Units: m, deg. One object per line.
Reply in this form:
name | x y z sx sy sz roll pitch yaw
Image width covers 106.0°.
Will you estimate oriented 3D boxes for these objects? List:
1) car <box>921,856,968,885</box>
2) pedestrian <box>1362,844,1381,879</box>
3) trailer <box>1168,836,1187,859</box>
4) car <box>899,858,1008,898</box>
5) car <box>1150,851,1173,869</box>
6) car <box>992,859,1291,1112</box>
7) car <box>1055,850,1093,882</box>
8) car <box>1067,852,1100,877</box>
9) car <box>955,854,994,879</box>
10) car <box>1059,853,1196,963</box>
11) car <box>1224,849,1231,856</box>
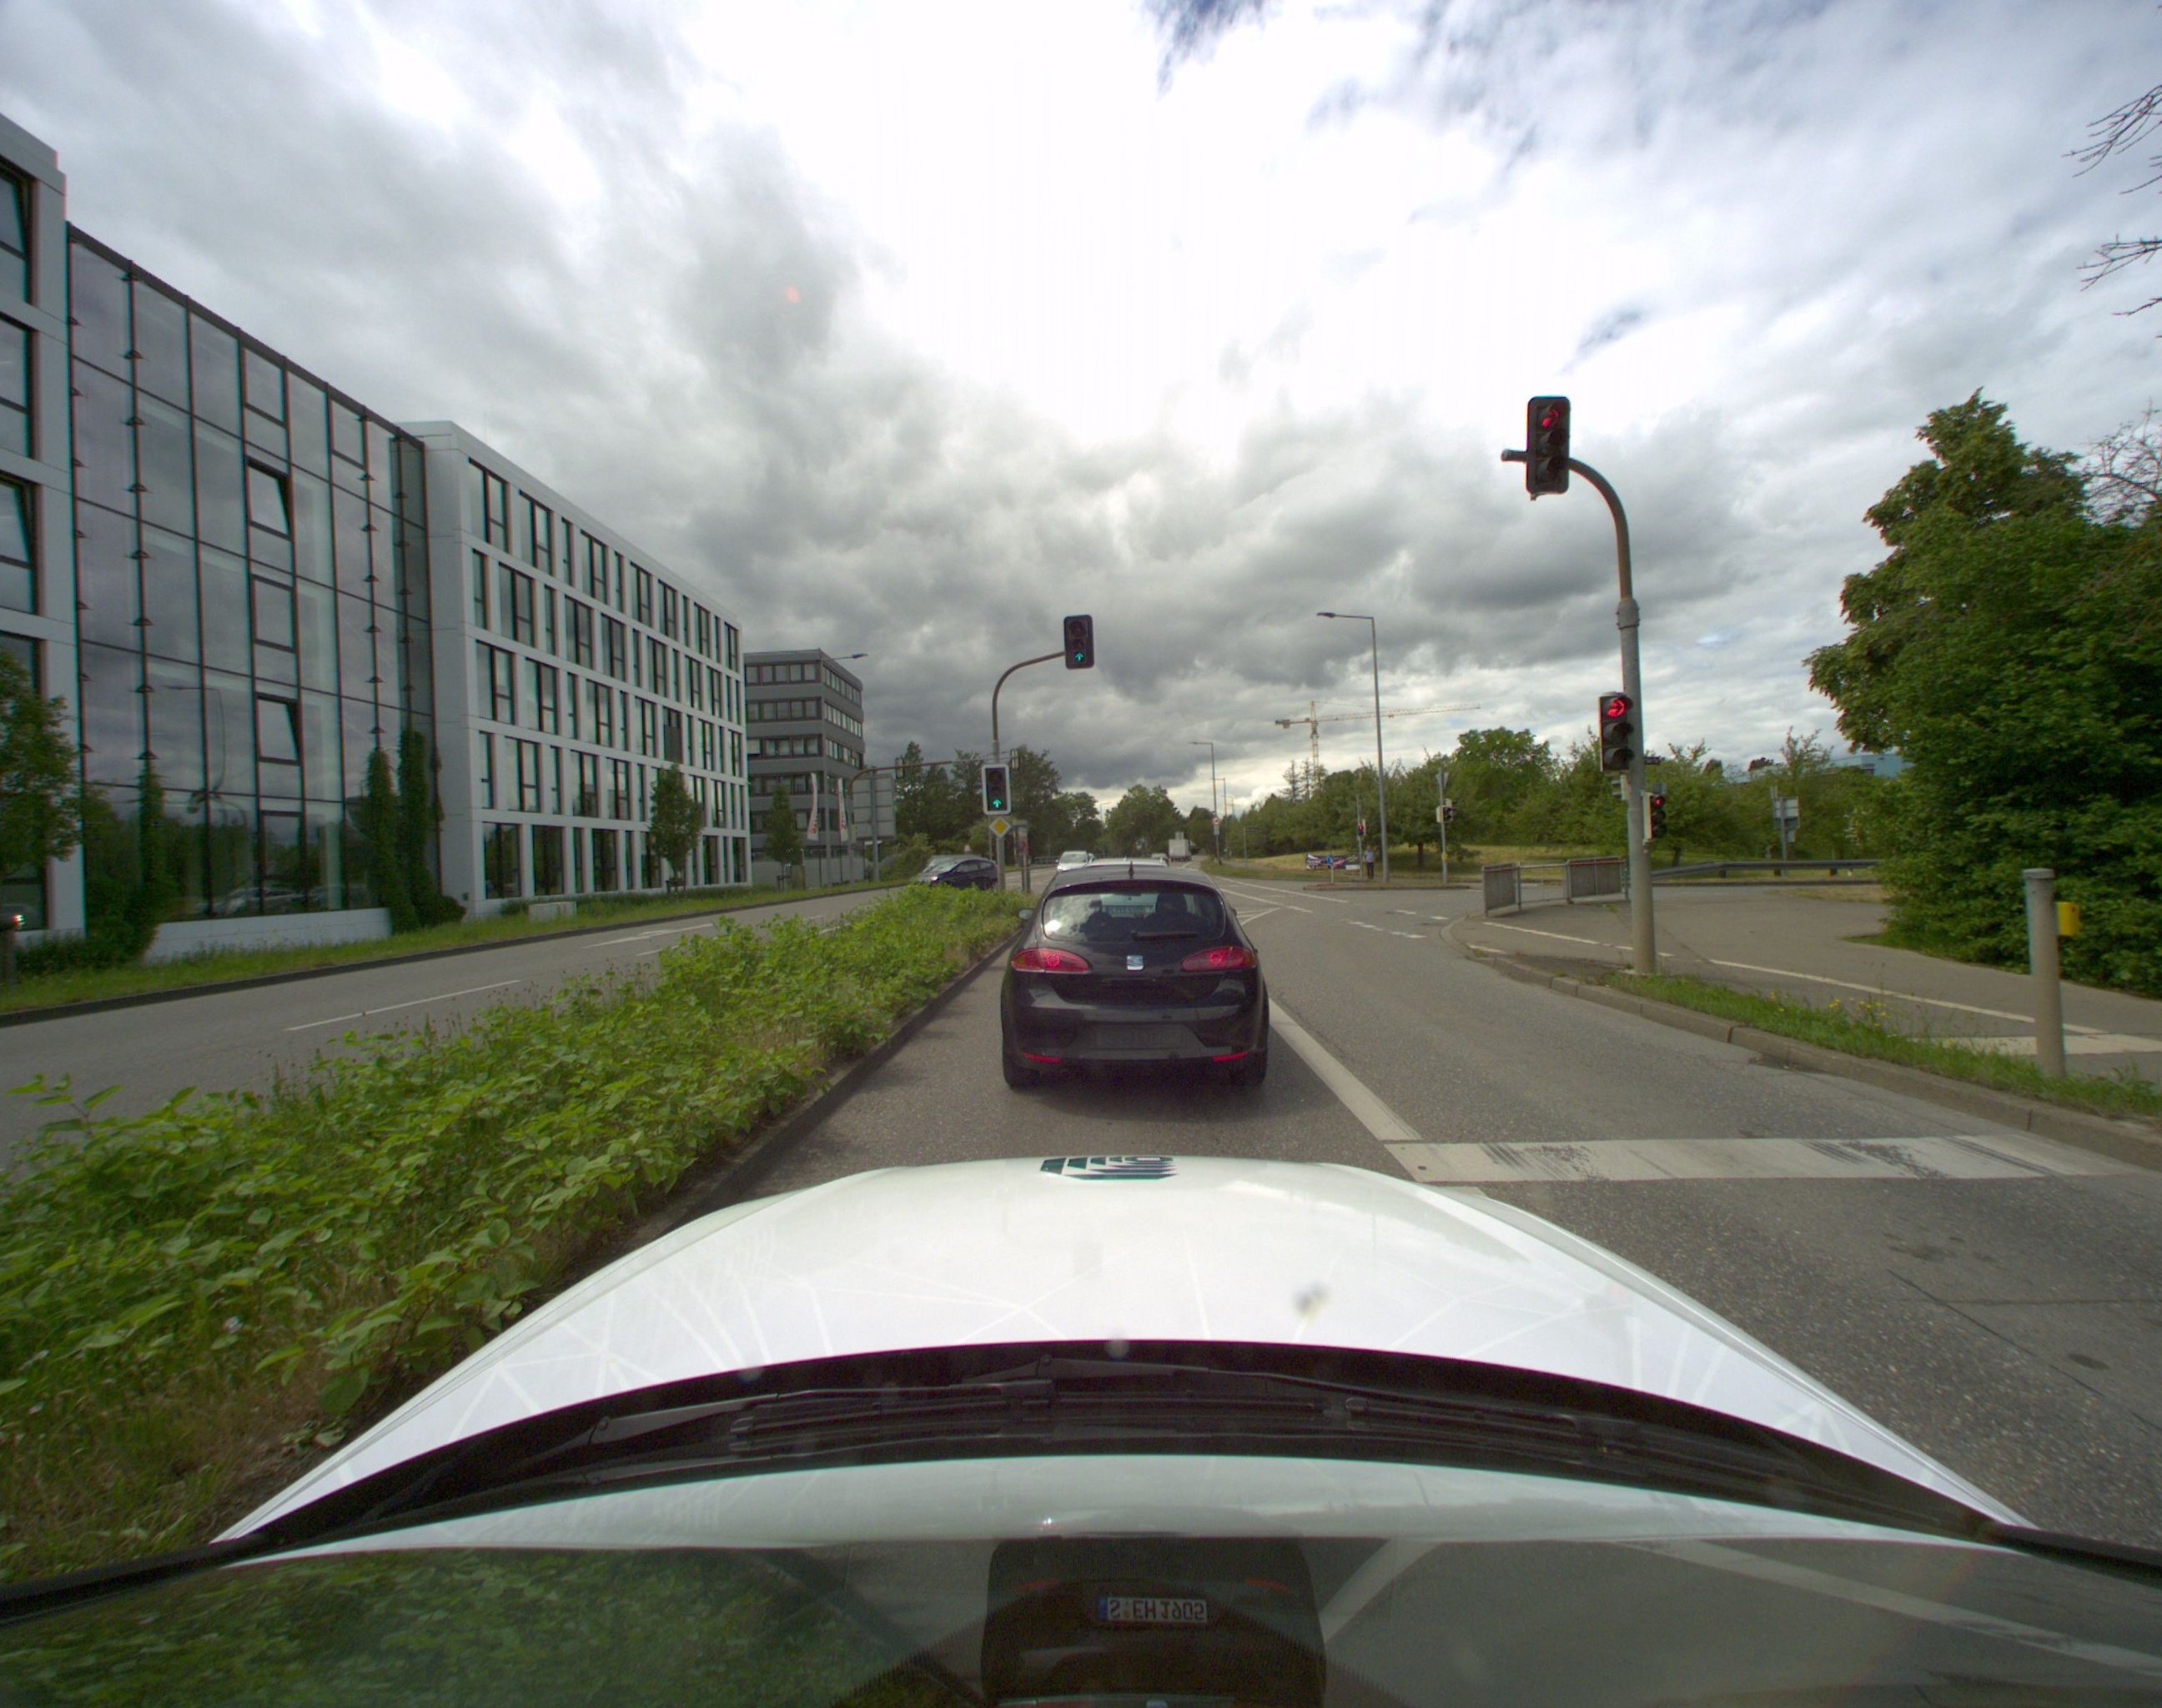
car | -7.288 0.839 43.769 1.598 1.432 3.757 -1 0 4
pedestrian | 15.106 0.410 42.363 0.714 1.793 1.045 0 -1 5
trailer | 13.438 -0.911 113.218 2.477 3.073 5.600 -1 -1 9
car | -4.830 0.878 31.216 1.738 1.446 3.915 -1 -1 43
car | 7.306 0.549 74.263 1.984 1.565 4.478 -1 0 5
car | 0.408 0.769 6.429 1.704 1.417 3.461 -1 0 2
car | -0.364 0.631 46.453 1.812 1.686 4.650 0 0 4
car | 0.192 0.655 52.411 1.652 1.518 4.091 -1 0 6
car | -6.565 0.762 50.432 1.546 1.419 3.902 -1 0 5
car | 0.725 0.743 12.800 1.827 1.467 3.754 0 -1 3
car | 37.973 -0.381 210.543 1.656 1.596 4.013 -1 -1 11
